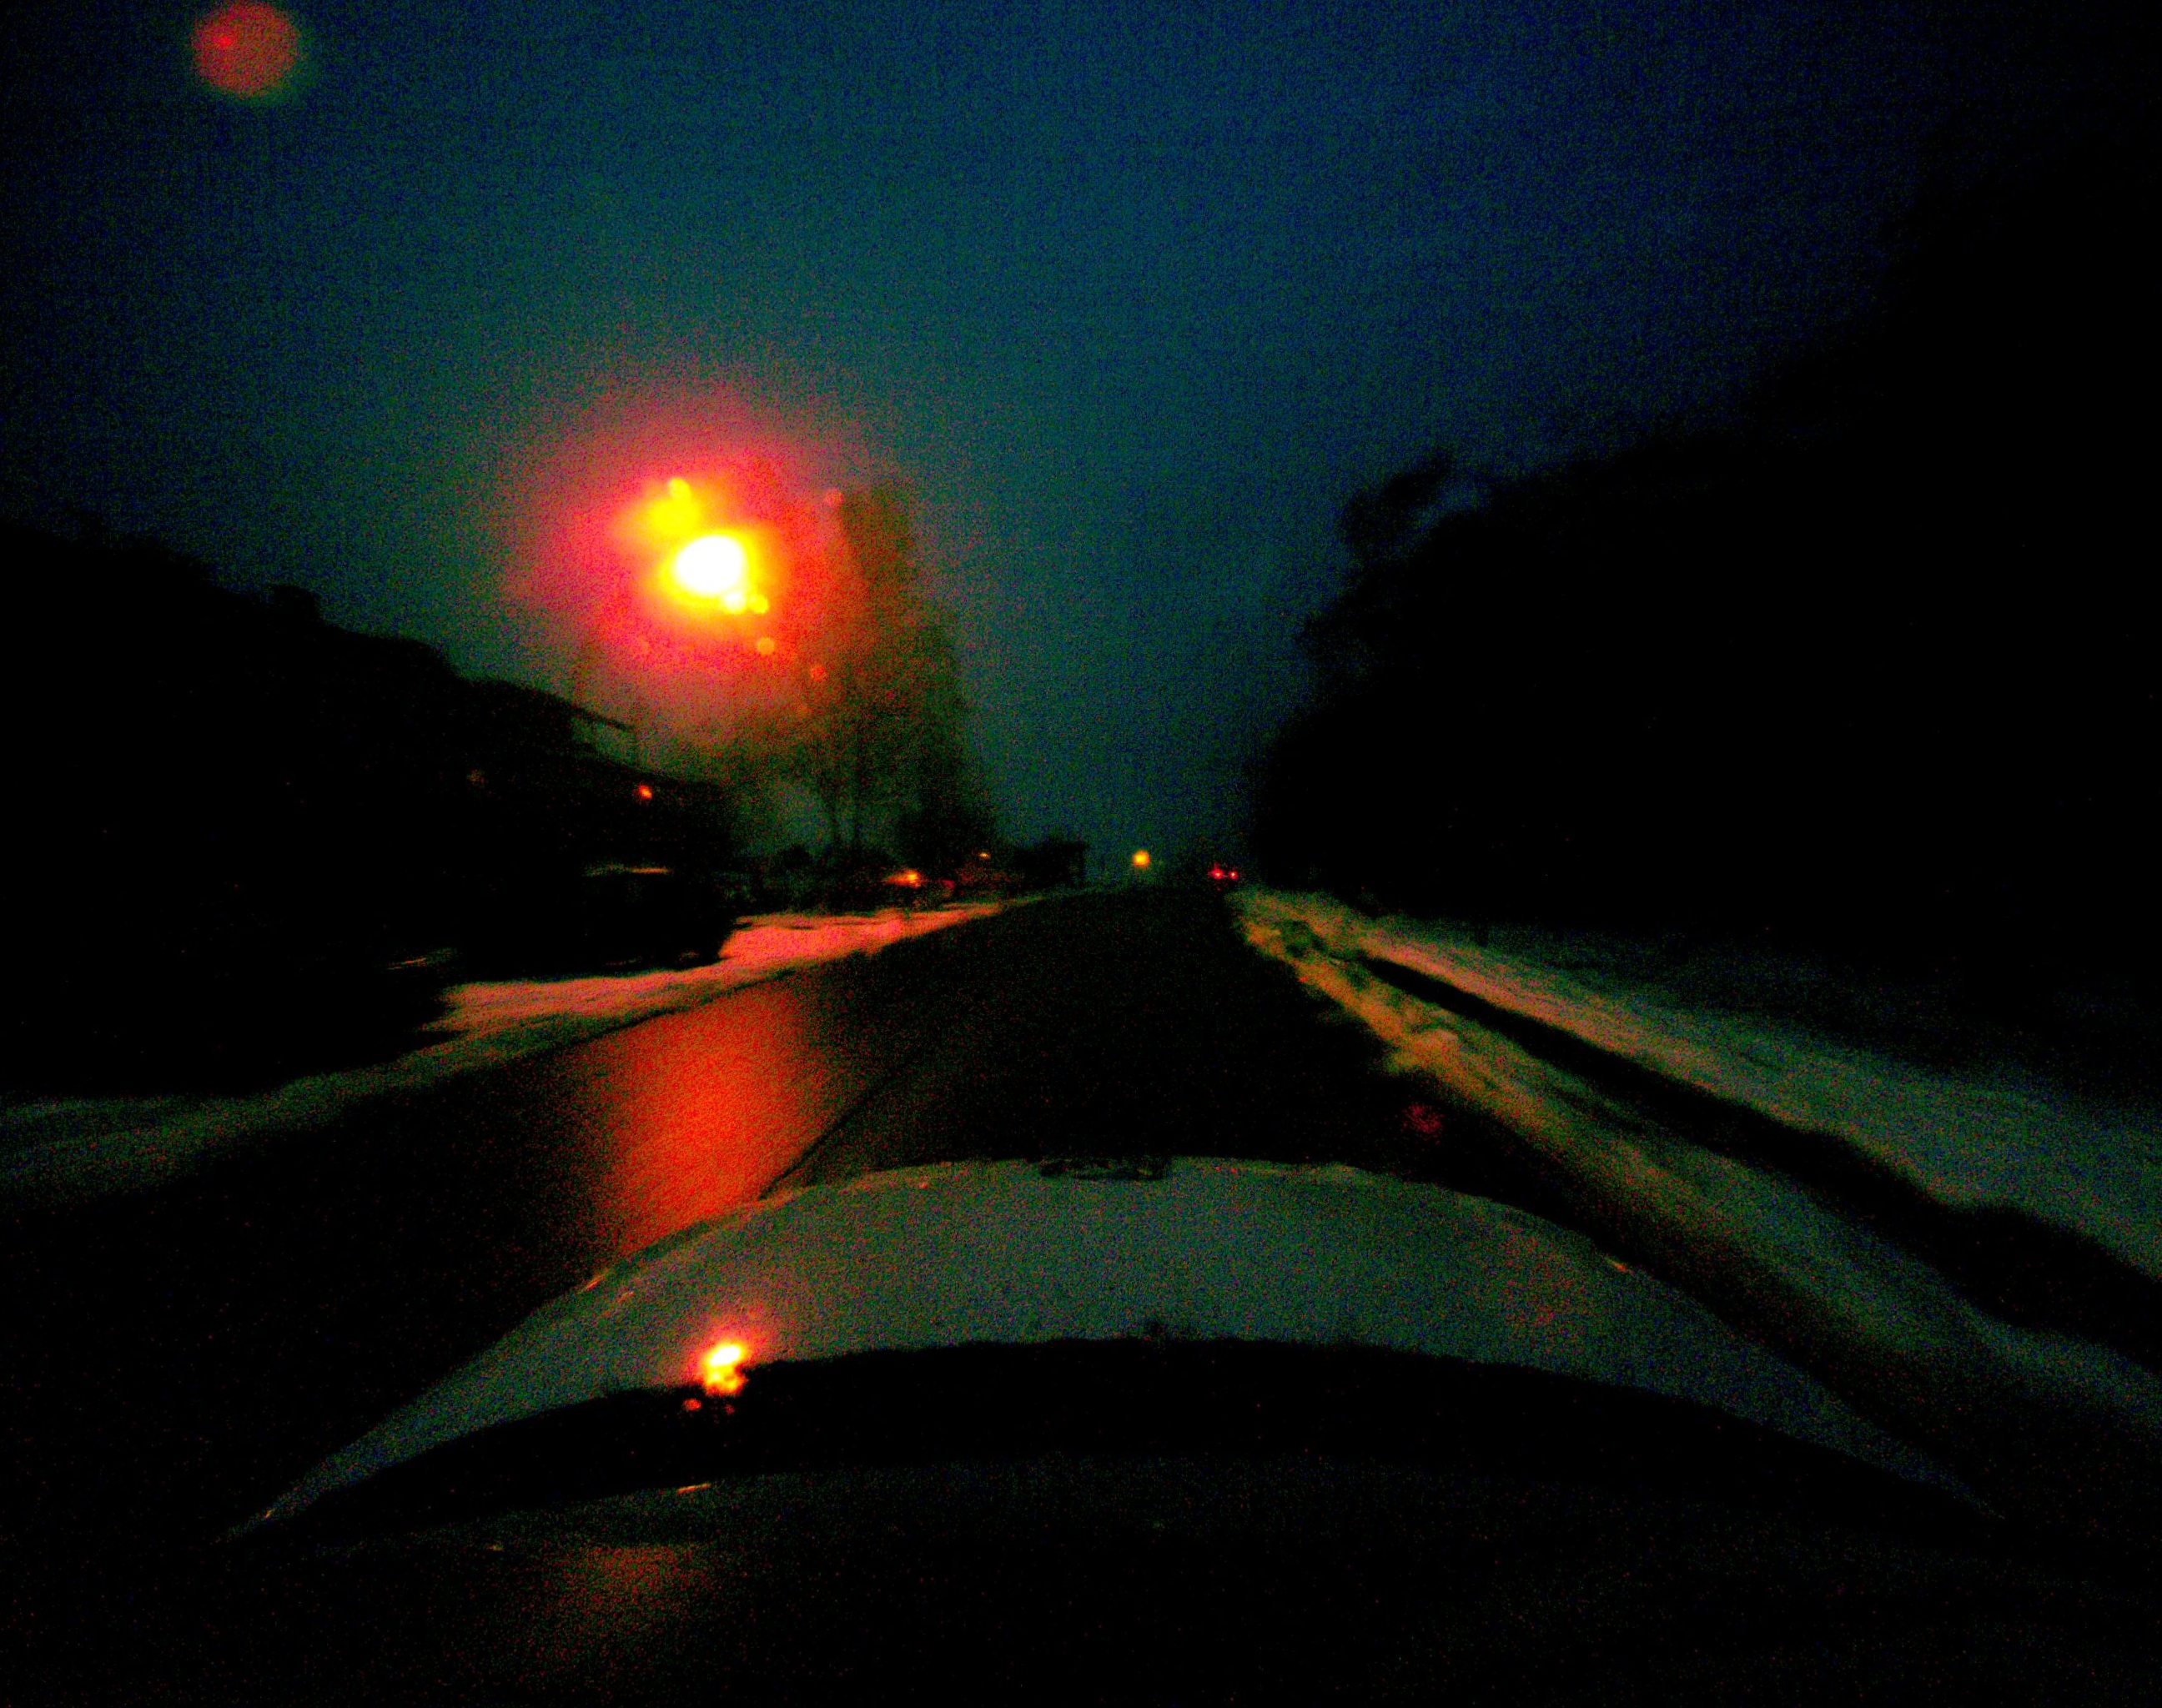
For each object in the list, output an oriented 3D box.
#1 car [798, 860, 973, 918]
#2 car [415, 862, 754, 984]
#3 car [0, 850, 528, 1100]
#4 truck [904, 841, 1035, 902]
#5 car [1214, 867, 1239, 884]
[{"bbox_3d":[-6.060,1.074,25.653,4.868,1.485,2.124,-3,-1,2],"label":"car"},{"bbox_3d":[-7.301,0.966,12.338,3.844,1.471,1.937,-3,0,-2],"label":"car"},{"bbox_3d":[-7.488,0.883,6.513,4.522,1.566,2.106,-3,0,-6],"label":"car"},{"bbox_3d":[-4.789,0.752,35.415,5.242,2.303,2.001,-3,-1,1],"label":"truck"},{"bbox_3d":[12.506,1.856,70.164,1.982,1.420,4.010,-1,-1,9],"label":"car"}]
